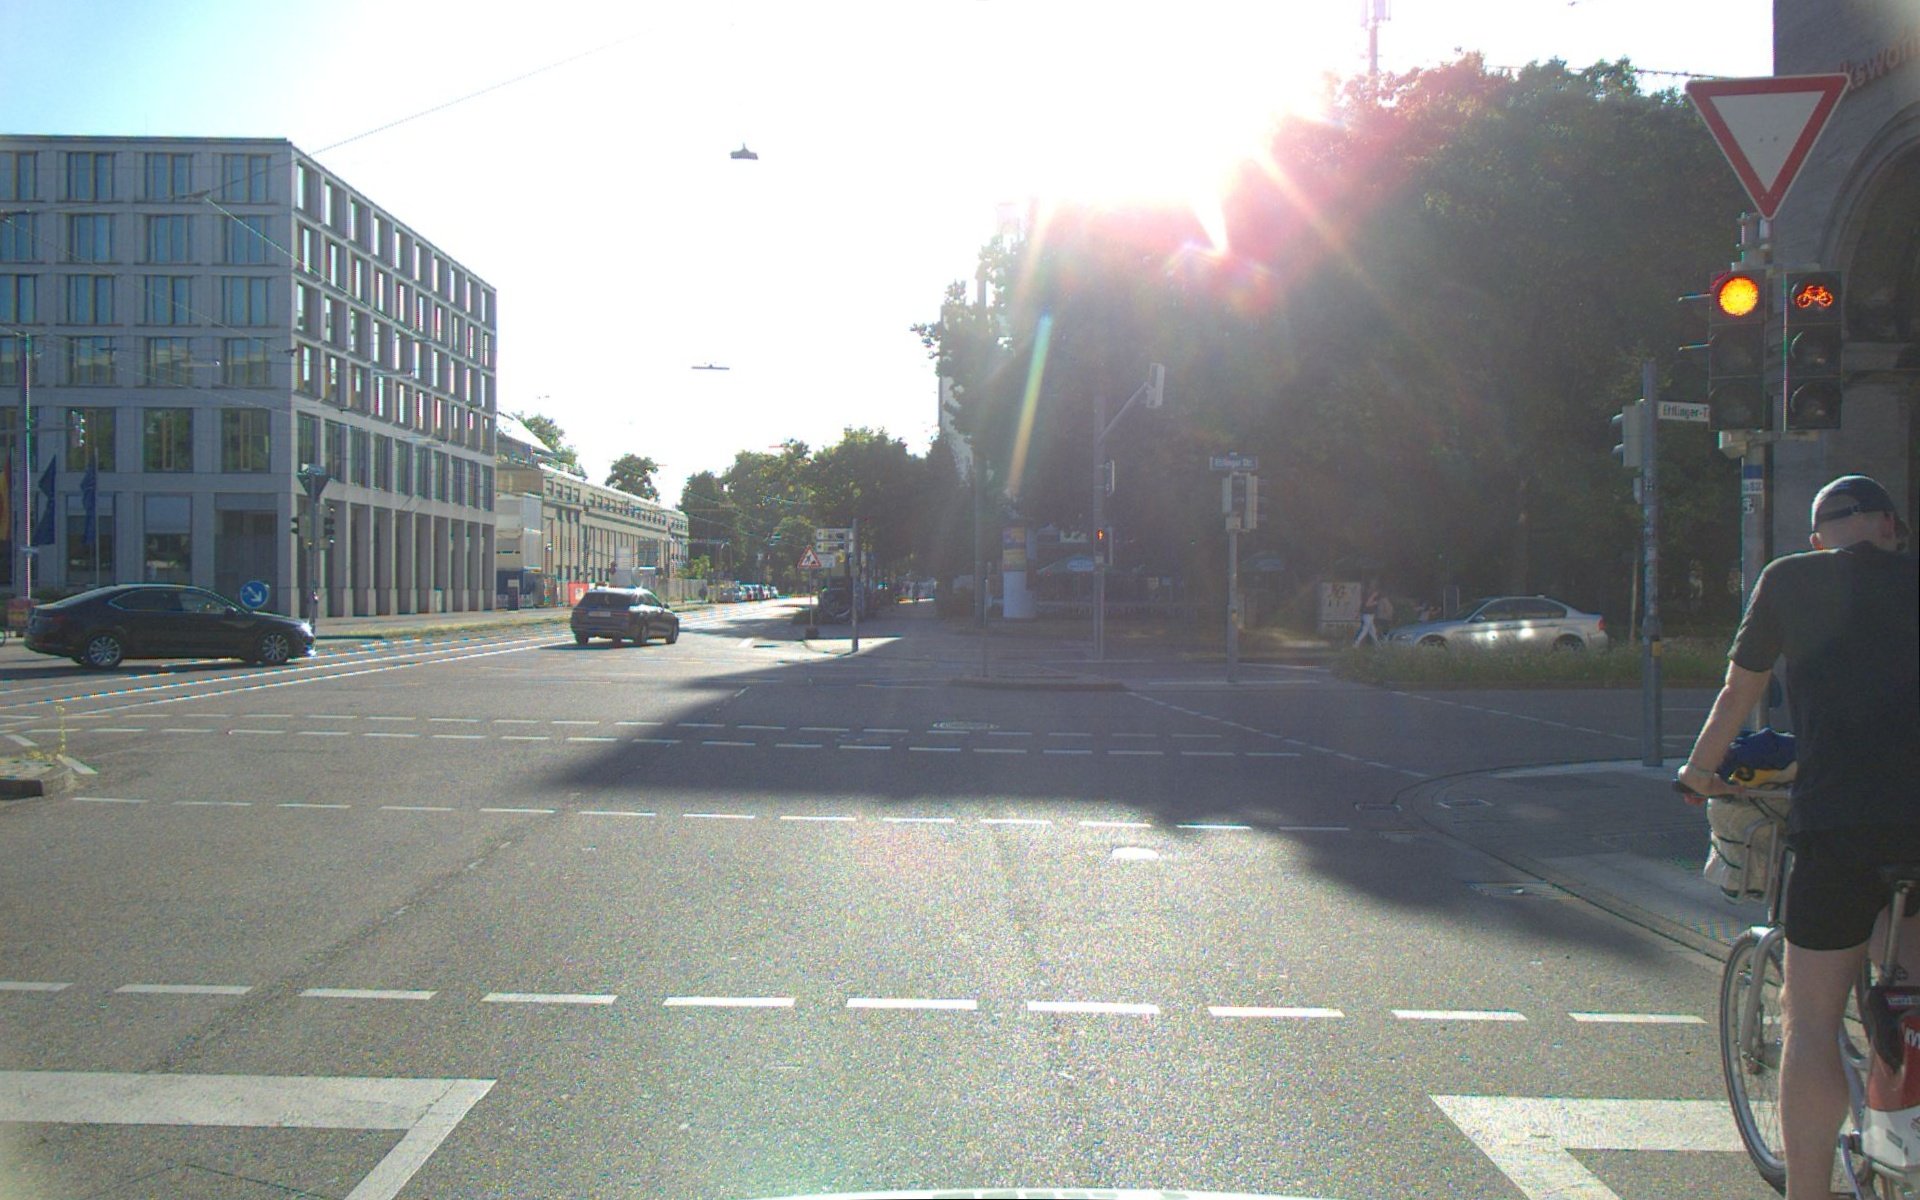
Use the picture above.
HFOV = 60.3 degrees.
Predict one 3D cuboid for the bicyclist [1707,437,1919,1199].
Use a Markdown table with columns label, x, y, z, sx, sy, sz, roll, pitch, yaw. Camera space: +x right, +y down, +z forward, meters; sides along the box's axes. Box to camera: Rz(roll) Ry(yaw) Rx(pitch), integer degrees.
| label | x | y | z | sx | sy | sz | roll | pitch | yaw |
| --- | --- | --- | --- | --- | --- | --- | --- | --- | --- |
| bicyclist | 2.086 | 0.578 | 3.723 | 0.547 | 1.830 | 0.550 | 1 | 0 | 1 |

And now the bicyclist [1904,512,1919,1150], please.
| label | x | y | z | sx | sy | sz | roll | pitch | yaw |
| --- | --- | --- | --- | --- | --- | --- | --- | --- | --- |
| bicyclist | 2.879 | 0.627 | 4.221 | 0.546 | 1.721 | 0.640 | 1 | 0 | -2 |

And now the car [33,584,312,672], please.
| label | x | y | z | sx | sy | sz | roll | pitch | yaw |
| --- | --- | --- | --- | --- | --- | --- | --- | --- | --- |
| car | -14.270 | 0.491 | 30.080 | 4.382 | 1.481 | 1.645 | 1 | 0 | -36 |

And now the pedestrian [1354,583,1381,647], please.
| label | x | y | z | sx | sy | sz | roll | pitch | yaw |
| --- | --- | --- | --- | --- | --- | --- | --- | --- | --- |
| pedestrian | 10.815 | 0.392 | 43.915 | 0.571 | 1.692 | 0.514 | 1 | 1 | 1 |

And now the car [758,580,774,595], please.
| label | x | y | z | sx | sy | sz | roll | pitch | yaw |
| --- | --- | --- | --- | --- | --- | --- | --- | --- | --- |
| car | -22.824 | -1.437 | 194.355 | 1.659 | 1.748 | 4.244 | 1 | 0 | -4 |

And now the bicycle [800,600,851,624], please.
| label | x | y | z | sx | sy | sz | roll | pitch | yaw |
| --- | --- | --- | --- | --- | --- | --- | --- | --- | --- |
| bicycle | -5.489 | 0.506 | 67.375 | 1.976 | 0.907 | 0.650 | -2 | -1 | 27 |

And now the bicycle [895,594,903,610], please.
| label | x | y | z | sx | sy | sz | roll | pitch | yaw |
| --- | --- | --- | --- | --- | --- | --- | --- | --- | --- |
| bicycle | -4.208 | 0.163 | 113.891 | 0.563 | 1.096 | 1.830 | 0 | 0 | -1 |

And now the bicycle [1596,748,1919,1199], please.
| label | x | y | z | sx | sy | sz | roll | pitch | yaw |
| --- | --- | --- | --- | --- | --- | --- | --- | --- | --- |
| bicycle | 2.067 | 0.981 | 3.881 | 0.505 | 1.096 | 1.728 | 1 | 0 | 1 |

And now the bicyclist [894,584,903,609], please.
| label | x | y | z | sx | sy | sz | roll | pitch | yaw |
| --- | --- | --- | --- | --- | --- | --- | --- | --- | --- |
| bicyclist | -4.220 | -0.244 | 113.902 | 0.558 | 1.721 | 0.699 | 0 | 0 | -1 |

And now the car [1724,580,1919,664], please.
| label | x | y | z | sx | sy | sz | roll | pitch | yaw |
| --- | --- | --- | --- | --- | --- | --- | --- | --- | --- |
| car | 17.760 | 0.434 | 33.547 | 3.770 | 1.639 | 1.650 | 0 | 0 | -1 |

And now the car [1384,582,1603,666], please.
| label | x | y | z | sx | sy | sz | roll | pitch | yaw |
| --- | --- | --- | --- | --- | --- | --- | --- | --- | --- |
| car | 10.768 | 0.475 | 33.552 | 3.912 | 1.639 | 1.650 | 0 | 0 | -1 |

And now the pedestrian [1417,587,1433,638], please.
| label | x | y | z | sx | sy | sz | roll | pitch | yaw |
| --- | --- | --- | --- | --- | --- | --- | --- | --- | --- |
| pedestrian | 12.274 | 0.326 | 43.656 | 0.310 | 1.339 | 0.345 | 1 | 1 | 1 |

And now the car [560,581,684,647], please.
| label | x | y | z | sx | sy | sz | roll | pitch | yaw |
| --- | --- | --- | --- | --- | --- | --- | --- | --- | --- |
| car | -9.040 | 0.353 | 44.702 | 1.852 | 1.592 | 4.811 | 3 | 1 | 6 |

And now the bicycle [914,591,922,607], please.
| label | x | y | z | sx | sy | sz | roll | pitch | yaw |
| --- | --- | --- | --- | --- | --- | --- | --- | --- | --- |
| bicycle | -2.890 | -0.072 | 113.969 | 0.563 | 1.096 | 1.830 | 0 | 0 | -1 |

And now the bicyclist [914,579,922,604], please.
| label | x | y | z | sx | sy | sz | roll | pitch | yaw |
| --- | --- | --- | --- | --- | --- | --- | --- | --- | --- |
| bicyclist | -2.873 | -0.585 | 113.961 | 0.558 | 1.721 | 0.699 | 0 | 0 | -1 |

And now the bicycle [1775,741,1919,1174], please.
| label | x | y | z | sx | sy | sz | roll | pitch | yaw |
| --- | --- | --- | --- | --- | --- | --- | --- | --- | --- |
| bicycle | 2.855 | 1.000 | 4.329 | 0.523 | 1.096 | 1.750 | 1 | 0 | -2 |

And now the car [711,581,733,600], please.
| label | x | y | z | sx | sy | sz | roll | pitch | yaw |
| --- | --- | --- | --- | --- | --- | --- | --- | --- | --- |
| car | -22.468 | -0.899 | 156.105 | 1.659 | 1.748 | 4.244 | 1 | 0 | -4 |

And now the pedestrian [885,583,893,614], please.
| label | x | y | z | sx | sy | sz | roll | pitch | yaw |
| --- | --- | --- | --- | --- | --- | --- | --- | --- | --- |
| pedestrian | -4.220 | -0.104 | 98.172 | 0.454 | 1.845 | 0.502 | 0 | 0 | -5 |

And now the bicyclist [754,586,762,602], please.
| label | x | y | z | sx | sy | sz | roll | pitch | yaw |
| --- | --- | --- | --- | --- | --- | --- | --- | --- | --- |
| bicyclist | -18.139 | -0.513 | 148.571 | 0.584 | 1.401 | 0.637 | 1 | -1 | -2 |

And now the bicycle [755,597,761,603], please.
| label | x | y | z | sx | sy | sz | roll | pitch | yaw |
| --- | --- | --- | --- | --- | --- | --- | --- | --- | --- |
| bicycle | -18.140 | 0.014 | 148.534 | 0.491 | 0.524 | 1.257 | 1 | 0 | -1 |

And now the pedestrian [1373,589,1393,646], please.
| label | x | y | z | sx | sy | sz | roll | pitch | yaw |
| --- | --- | --- | --- | --- | --- | --- | --- | --- | --- |
| pedestrian | 11.433 | 0.462 | 44.724 | 0.430 | 1.529 | 0.437 | 0 | 0 | 0 |
